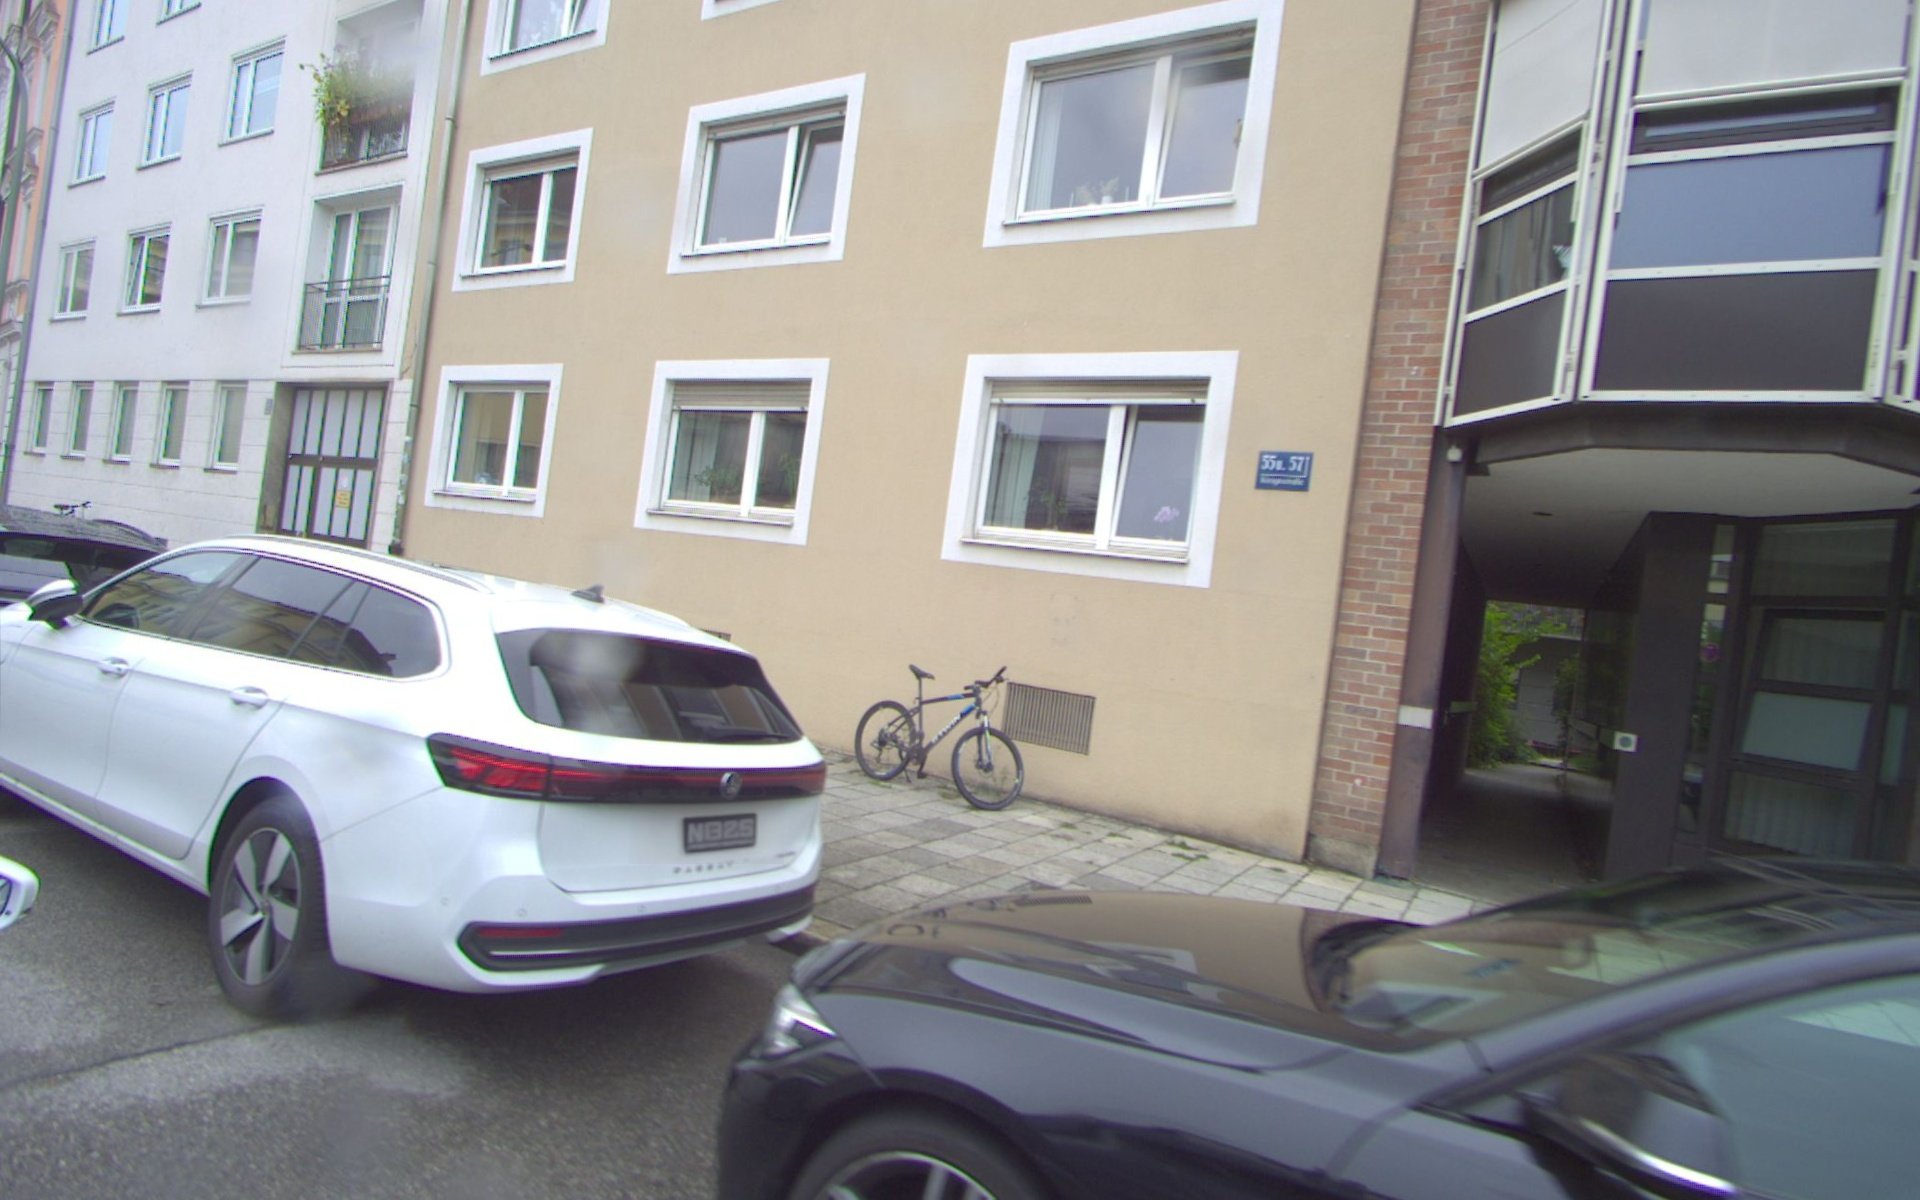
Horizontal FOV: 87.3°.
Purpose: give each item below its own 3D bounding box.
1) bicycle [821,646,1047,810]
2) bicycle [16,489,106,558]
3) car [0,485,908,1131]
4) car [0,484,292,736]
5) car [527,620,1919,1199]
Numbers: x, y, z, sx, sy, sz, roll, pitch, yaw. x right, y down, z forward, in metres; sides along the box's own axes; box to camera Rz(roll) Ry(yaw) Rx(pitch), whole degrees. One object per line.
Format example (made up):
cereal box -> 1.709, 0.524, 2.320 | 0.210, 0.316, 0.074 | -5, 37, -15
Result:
bicycle -> -0.244, 1.035, 8.525 | 1.724, 1.046, 0.677 | 8, 1, 32
bicycle -> -16.932, -1.449, 18.936 | 1.965, 1.085, 0.530 | 8, 1, 28
car -> -2.870, 0.431, 4.609 | 4.930, 1.431, 1.857 | 8, 0, 31
car -> -7.331, -0.162, 7.432 | 5.028, 1.431, 1.958 | 7, -1, 31
car -> 1.620, 1.116, 1.810 | 4.698, 1.379, 1.765 | 7, -5, 28
